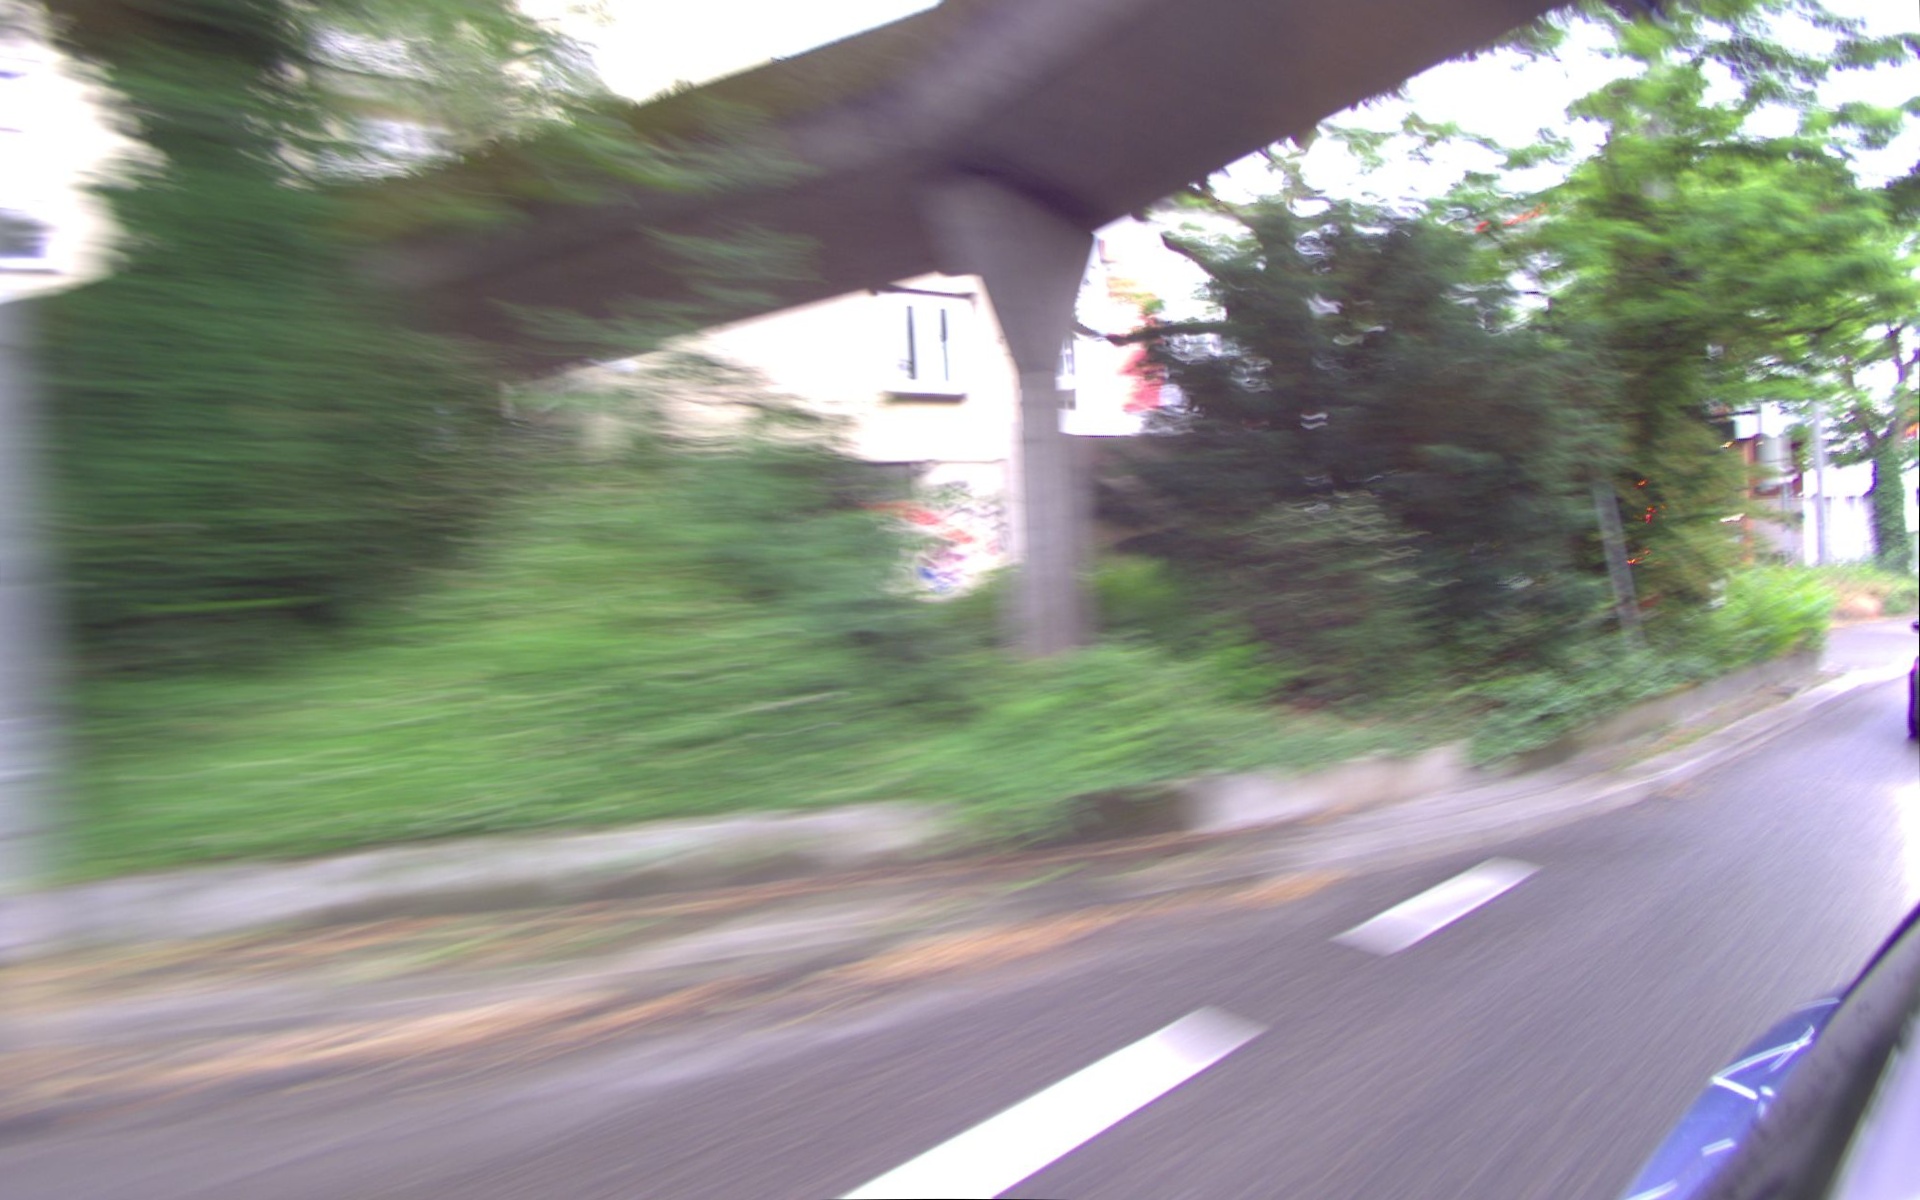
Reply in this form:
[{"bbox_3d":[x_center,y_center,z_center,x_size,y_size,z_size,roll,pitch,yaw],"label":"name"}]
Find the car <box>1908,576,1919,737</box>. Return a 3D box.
[{"bbox_3d":[10.420,0.501,9.353,3.776,1.417,1.679,-1,2,-35],"label":"car"}]
